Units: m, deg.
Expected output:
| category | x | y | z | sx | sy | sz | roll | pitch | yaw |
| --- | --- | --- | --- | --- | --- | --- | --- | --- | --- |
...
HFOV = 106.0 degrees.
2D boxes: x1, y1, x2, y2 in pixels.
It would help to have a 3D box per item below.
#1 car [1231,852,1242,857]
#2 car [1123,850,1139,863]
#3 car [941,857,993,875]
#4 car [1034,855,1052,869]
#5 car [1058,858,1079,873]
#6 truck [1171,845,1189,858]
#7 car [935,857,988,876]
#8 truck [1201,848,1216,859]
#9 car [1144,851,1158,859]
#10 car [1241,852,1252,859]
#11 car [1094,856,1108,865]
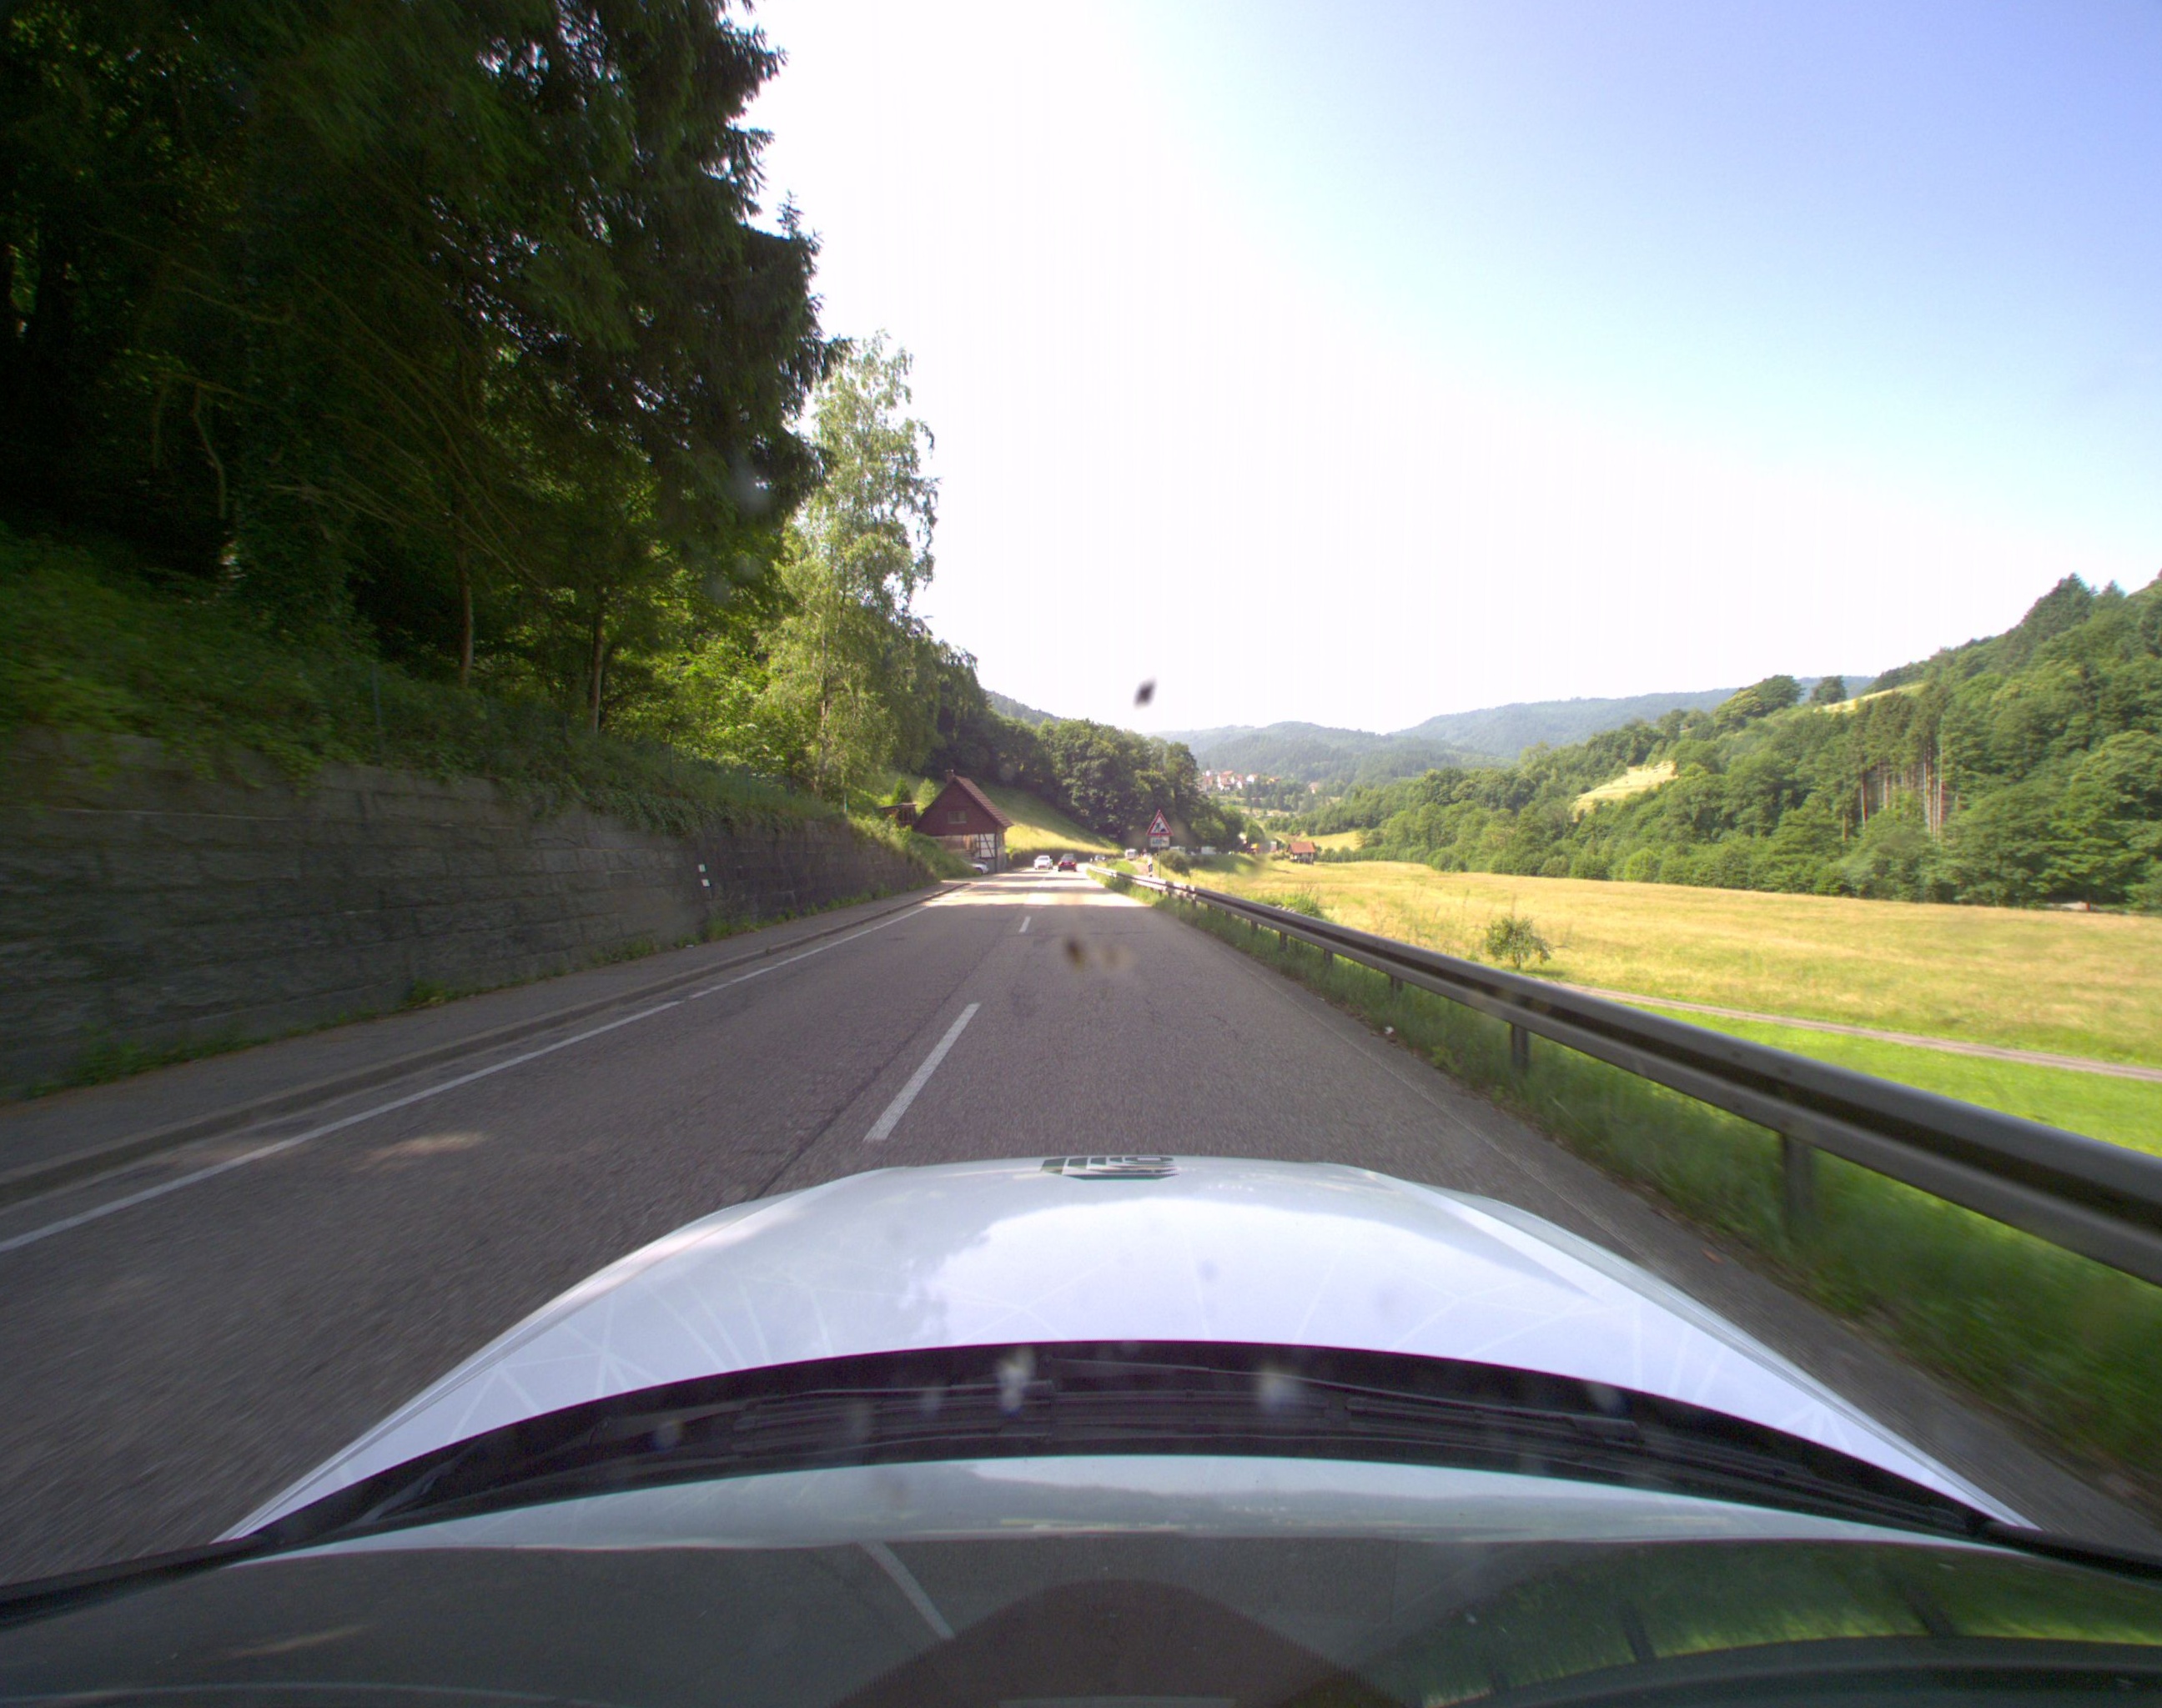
| category | x | y | z | sx | sy | sz | roll | pitch | yaw |
| --- | --- | --- | --- | --- | --- | --- | --- | --- | --- |
| car | 45.732 | 0.102 | 239.218 | 1.888 | 1.486 | 4.025 | 3 | 1 | 31 |
| car | 9.482 | 0.482 | 154.708 | 1.979 | 2.352 | 4.934 | 1 | 2 | 15 |
| car | -9.149 | 0.947 | 65.479 | 3.802 | 1.433 | 1.864 | 0 | 1 | 1 |
| car | -4.164 | 0.915 | 89.288 | 1.772 | 1.437 | 3.998 | -1 | -1 | -1 |
| car | -1.208 | 1.088 | 78.529 | 1.764 | 1.335 | 3.770 | 1 | 2 | 3 |
| truck | 24.062 | -0.730 | 197.949 | 2.768 | 2.997 | 6.902 | 3 | 2 | 19 |
| car | -9.135 | 0.923 | 62.470 | 3.802 | 1.417 | 1.858 | 0 | 1 | 1 |
| truck | 34.669 | -0.220 | 220.856 | 2.217 | 2.804 | 6.269 | 2 | 0 | 27 |
| car | 15.136 | 0.202 | 175.770 | 1.978 | 1.484 | 4.018 | 3 | 2 | 17 |
| car | 50.772 | 0.481 | 249.647 | 1.975 | 1.925 | 4.024 | 4 | 1 | 30 |
| car | 3.443 | 1.079 | 140.829 | 1.753 | 1.396 | 4.159 | 0 | 1 | 12 |
